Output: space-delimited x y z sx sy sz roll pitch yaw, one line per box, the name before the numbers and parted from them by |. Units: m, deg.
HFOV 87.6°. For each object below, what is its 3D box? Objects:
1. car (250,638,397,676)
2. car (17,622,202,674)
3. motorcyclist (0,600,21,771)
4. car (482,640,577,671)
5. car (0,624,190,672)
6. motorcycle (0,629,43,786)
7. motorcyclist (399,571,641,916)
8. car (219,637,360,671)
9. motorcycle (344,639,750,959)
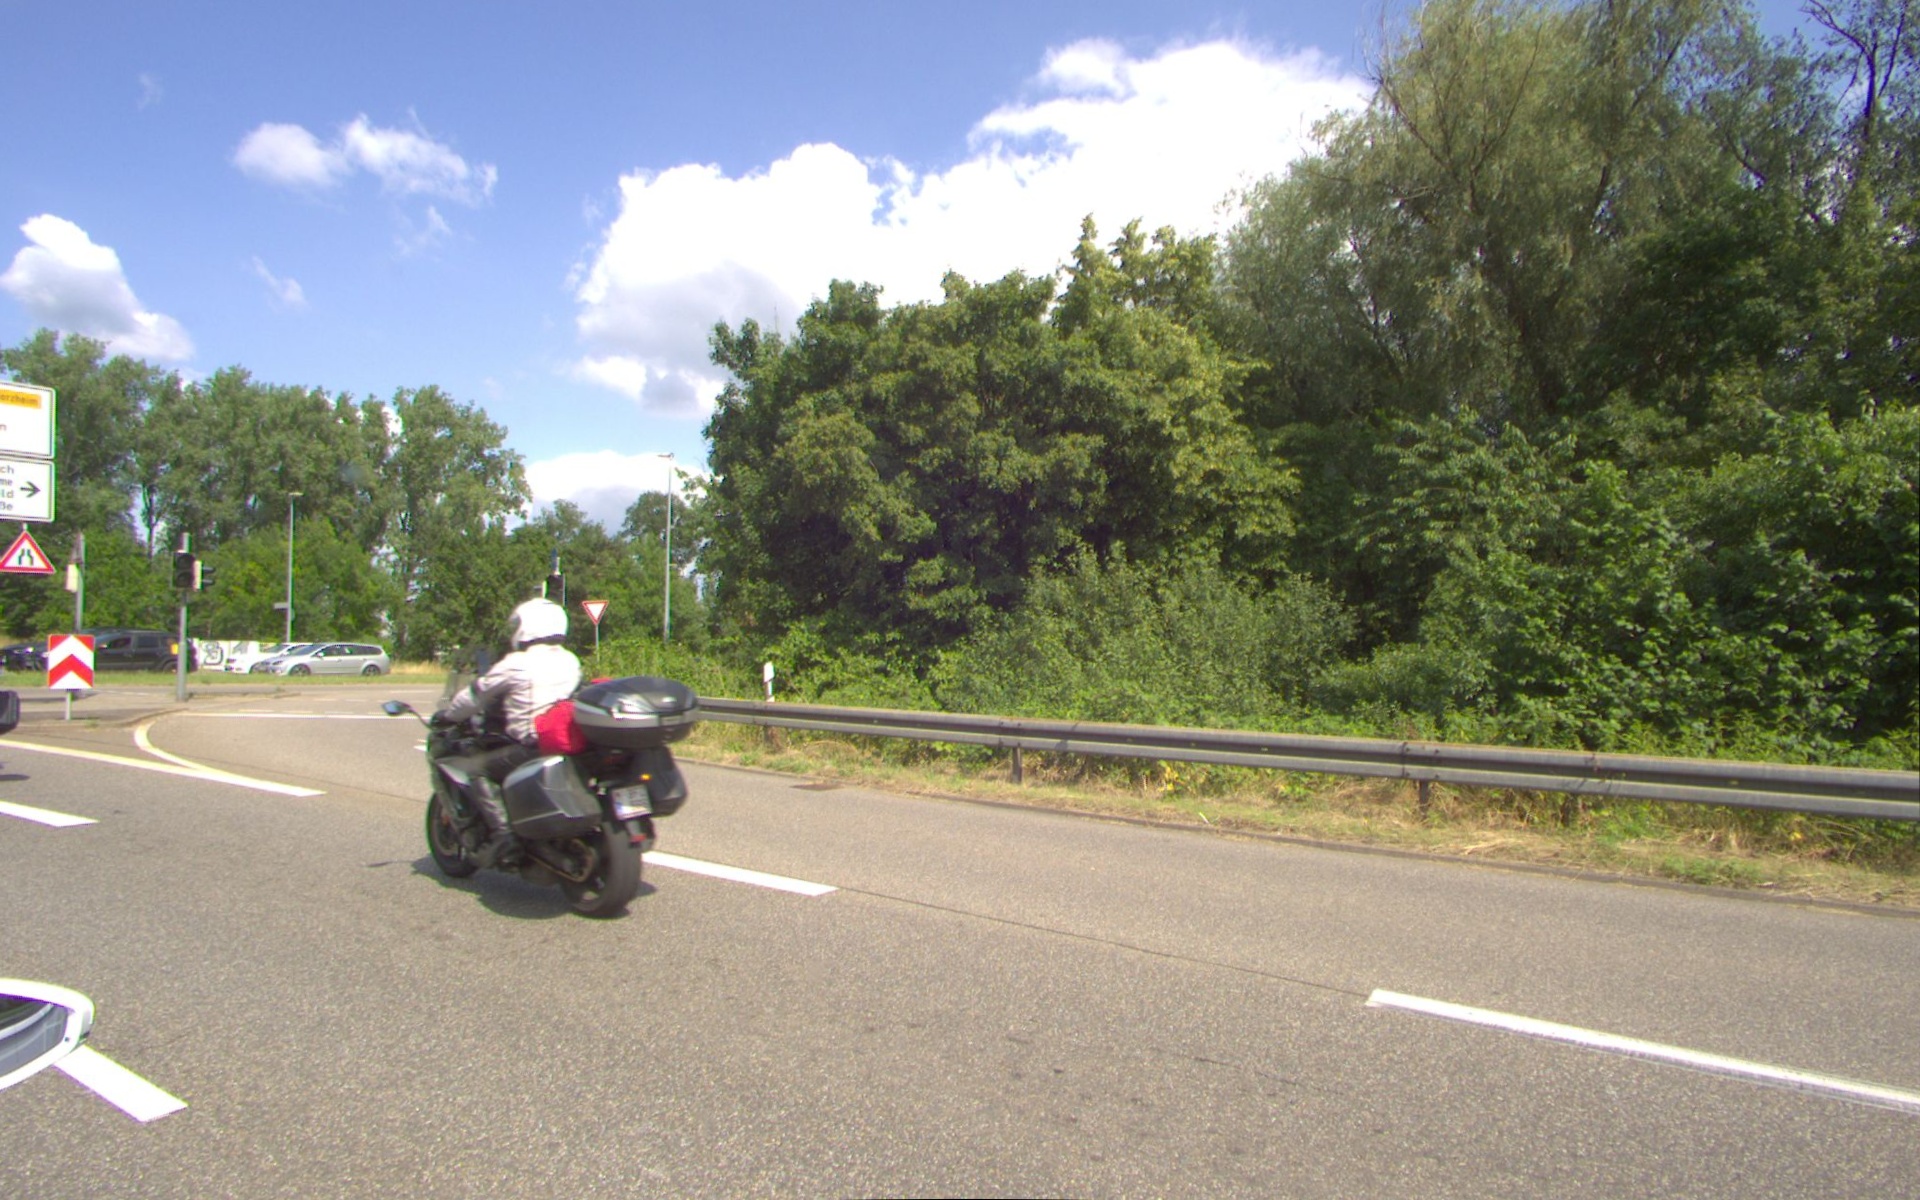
car | -24.203 2.153 38.268 1.710 1.337 4.471 0 -3 29
car | -27.553 1.562 32.591 1.711 1.564 4.264 0 -3 31
motorcyclist | -9.667 0.795 9.427 1.068 1.611 0.935 0 -2 32
car | -21.770 2.795 50.796 1.710 1.495 4.222 0 -3 29
car | -30.357 1.700 35.273 1.711 1.564 4.842 0 -3 31
motorcycle | -9.681 0.970 9.427 2.336 1.401 0.935 -1 -2 32
motorcyclist | -2.450 0.735 5.621 0.881 1.722 0.864 0 -2 32
car | -27.211 2.200 40.791 1.710 1.297 4.491 0 -3 29
motorcycle | -2.337 0.946 5.544 2.336 1.406 0.864 0 -2 32
